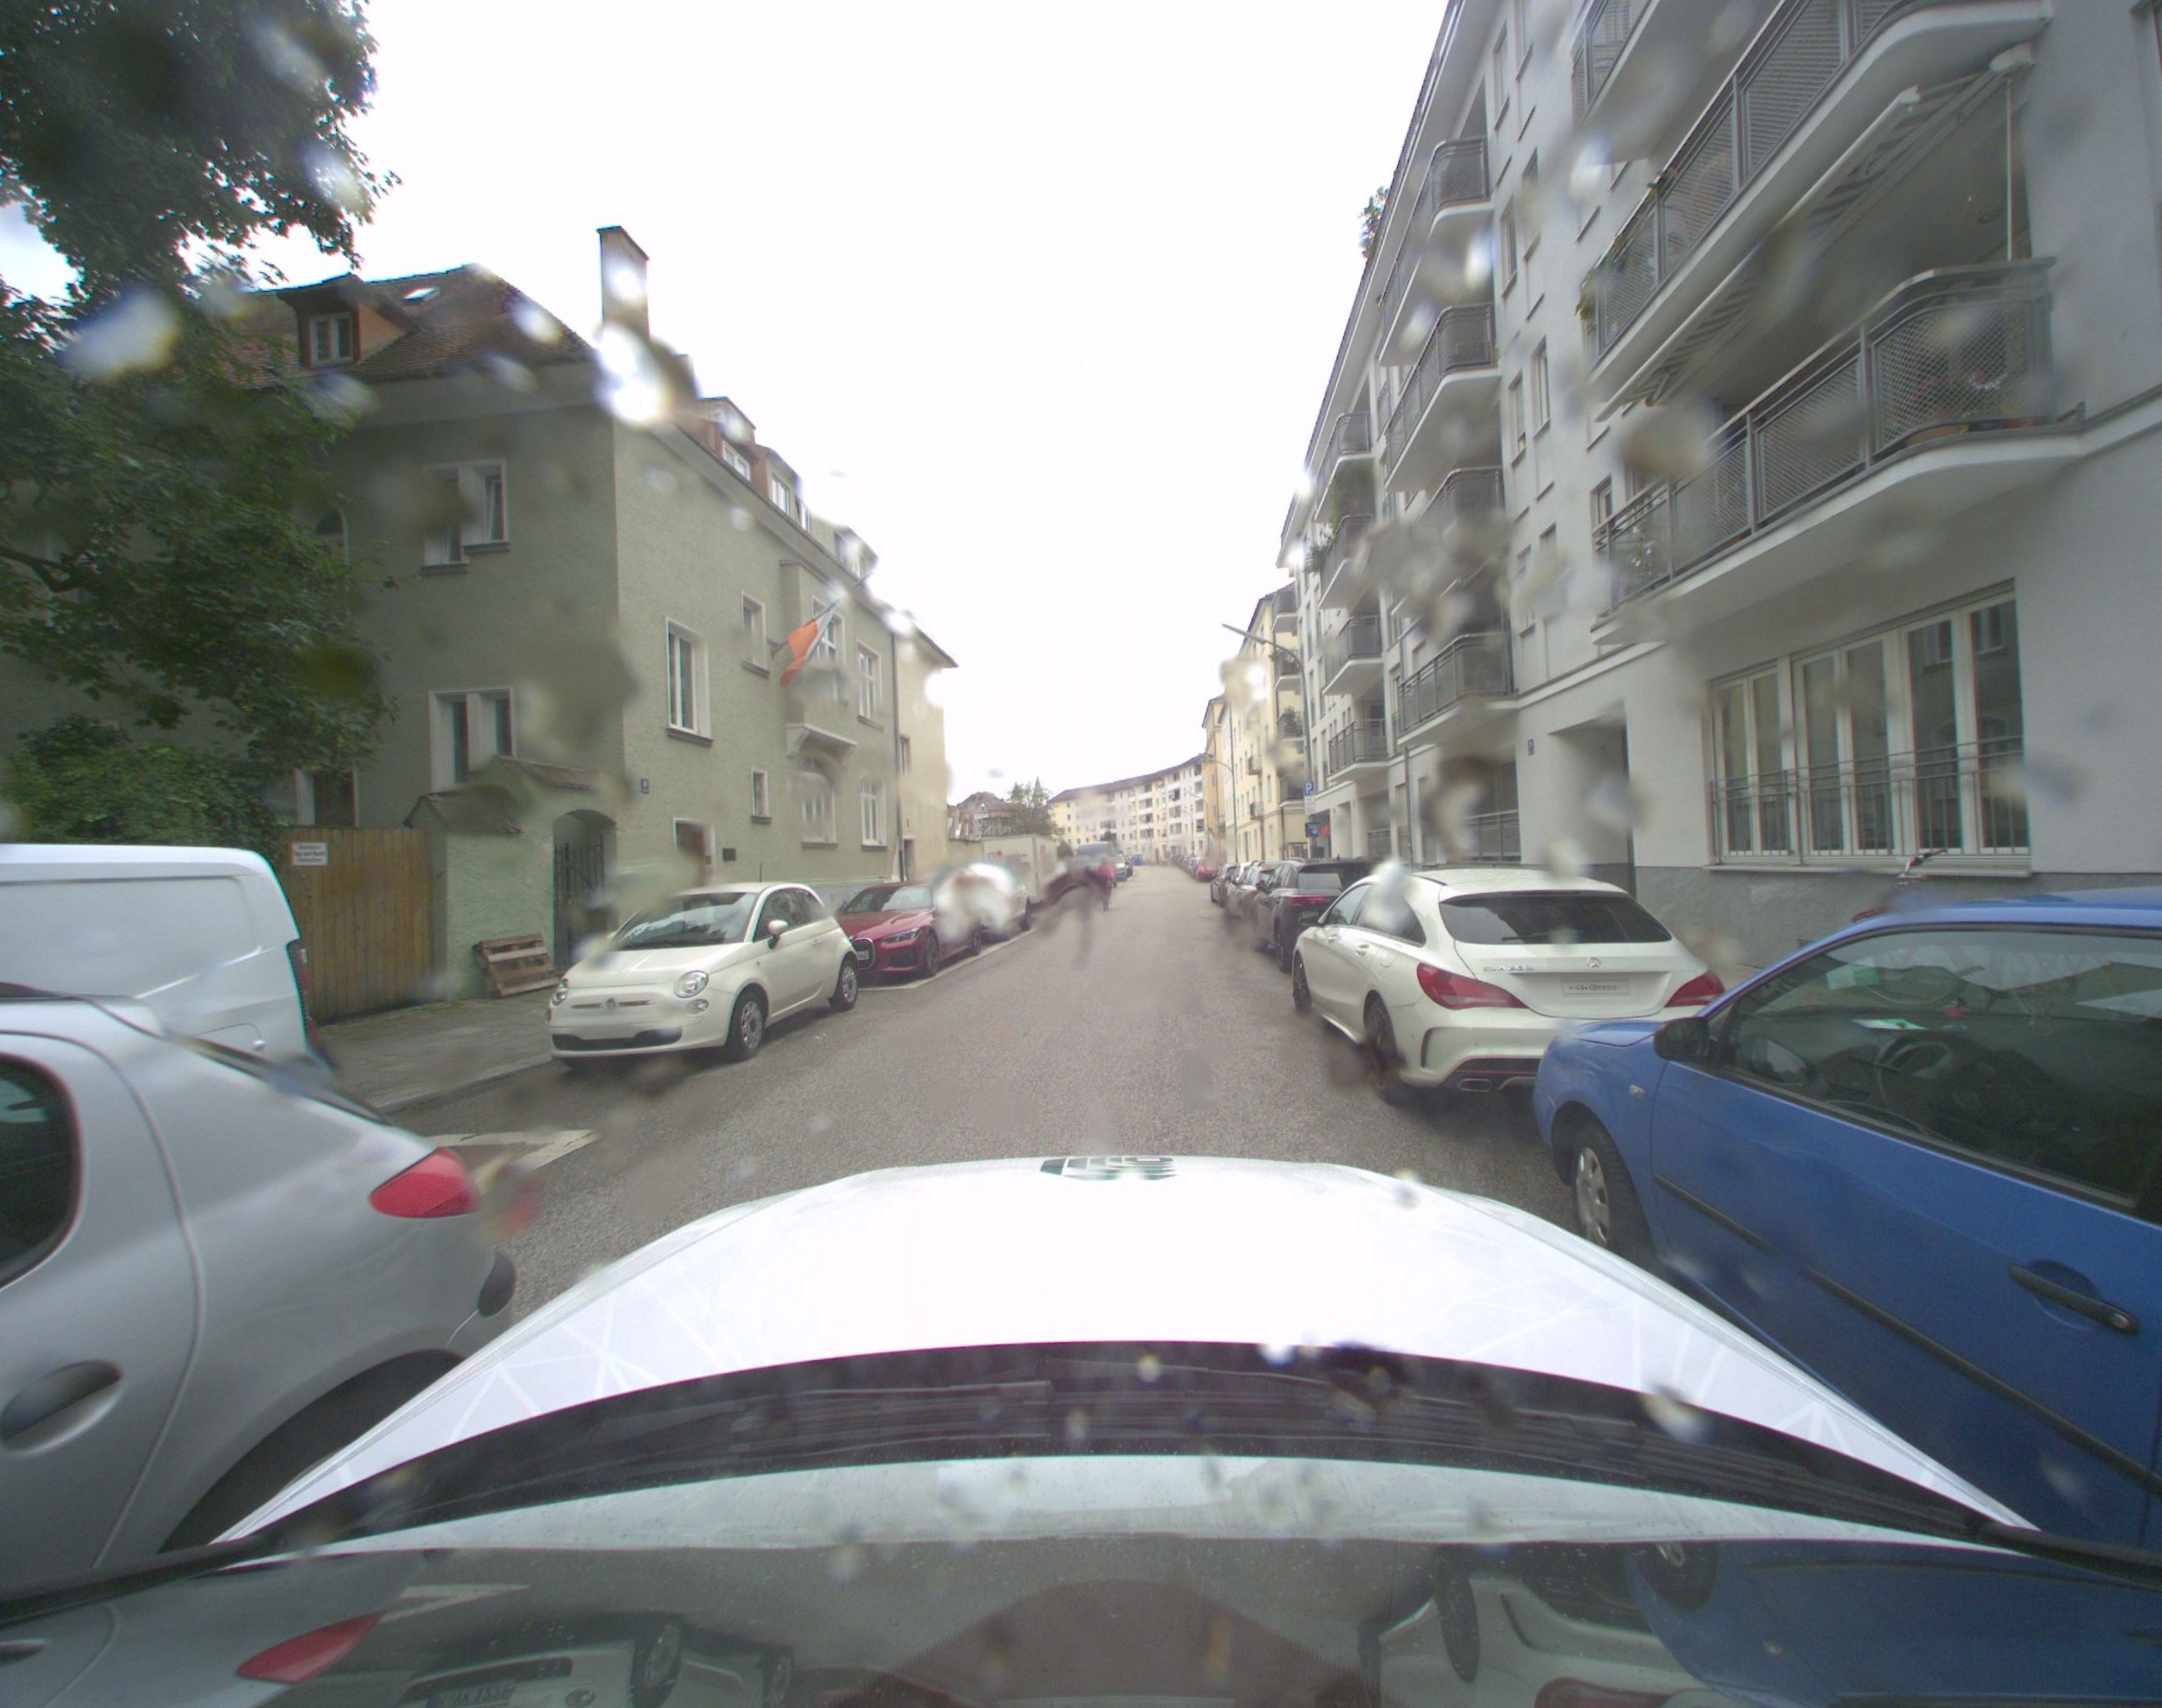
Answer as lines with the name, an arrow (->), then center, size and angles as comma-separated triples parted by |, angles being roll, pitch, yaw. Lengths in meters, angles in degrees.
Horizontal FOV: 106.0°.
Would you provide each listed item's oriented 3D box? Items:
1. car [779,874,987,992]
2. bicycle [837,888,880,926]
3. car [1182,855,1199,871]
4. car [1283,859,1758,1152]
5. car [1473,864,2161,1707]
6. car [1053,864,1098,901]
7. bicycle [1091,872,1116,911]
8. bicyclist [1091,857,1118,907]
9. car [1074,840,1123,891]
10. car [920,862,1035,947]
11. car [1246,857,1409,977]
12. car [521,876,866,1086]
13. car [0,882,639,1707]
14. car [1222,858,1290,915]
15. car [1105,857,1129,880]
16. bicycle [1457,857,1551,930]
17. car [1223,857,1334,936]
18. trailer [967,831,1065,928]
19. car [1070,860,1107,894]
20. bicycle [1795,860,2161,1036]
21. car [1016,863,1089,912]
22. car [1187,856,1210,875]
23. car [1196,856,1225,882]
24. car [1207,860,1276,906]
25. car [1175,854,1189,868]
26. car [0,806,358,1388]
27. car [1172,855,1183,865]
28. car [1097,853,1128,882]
car -> -2.911, 1.119, 13.065 | 1.852, 1.412, 4.339 | -4, -1, 5
bicycle -> -5.949, 1.395, 21.893 | 0.520, 0.906, 1.931 | 1, 0, 3
car -> 11.629, 0.948, 86.908 | 1.583, 1.582, 4.305 | -1, 0, 5
car -> 2.708, 0.765, 6.188 | 1.650, 1.440, 4.212 | 0, 0, 5
car -> 2.485, 0.733, 1.946 | 1.611, 1.412, 3.558 | 0, -1, 4
car -> -0.194, 1.220, 36.017 | 1.693, 1.446, 3.829 | -2, 0, 4
bicycle -> 0.747, 1.198, 26.386 | 0.501, 1.128, 1.777 | -4, -1, 9
bicyclist -> 0.774, 0.895, 26.478 | 0.690, 1.561, 0.969 | -4, -1, 9
car -> 1.089, 0.590, 46.343 | 2.076, 2.636, 5.388 | -2, 0, 8
car -> -2.225, 1.055, 18.591 | 1.679, 1.603, 3.927 | -4, -1, 5
car -> 3.562, 0.811, 12.449 | 1.596, 1.530, 3.989 | 0, 0, 5
car -> -3.431, 1.027, 7.921 | 1.466, 1.466, 3.318 | -4, -1, 5
car -> -2.218, 0.795, 0.476 | 1.572, 1.411, 3.619 | -3, -1, 7
car -> 5.008, 0.884, 23.608 | 1.512, 1.530, 3.532 | -1, 0, 5
car -> 2.990, 1.168, 66.703 | 1.693, 1.691, 4.033 | -4, 0, 5
bicycle -> 7.351, 0.654, 14.281 | 0.624, 1.160, 2.130 | -3, -1, 4
car -> 4.236, 0.840, 18.133 | 1.726, 1.530, 4.628 | 0, 0, 5
trailer -> -1.774, 0.670, 23.756 | 1.699, 2.461, 4.397 | -4, -1, 9
car -> 0.402, 1.155, 40.964 | 1.579, 1.538, 3.546 | -3, -2, 3
bicycle -> 6.183, 0.592, 5.783 | 0.674, 1.028, 1.837 | -2, -2, 5
car -> -0.940, 1.161, 29.842 | 1.756, 1.538, 4.552 | -4, -1, 9
car -> 9.705, 0.922, 67.500 | 1.591, 1.491, 3.803 | -2, 0, 4
car -> 8.164, 0.941, 51.676 | 1.587, 1.509, 3.807 | -3, 0, 6
car -> 5.406, 0.945, 27.833 | 1.755, 1.408, 4.082 | -2, -1, 4
car -> 12.027, 0.848, 96.959 | 1.467, 1.641, 4.006 | -1, 0, 5
car -> -4.320, 0.804, 1.648 | 1.682, 1.803, 4.151 | -4, -1, 5
car -> 12.849, 0.844, 108.634 | 1.266, 1.299, 2.801 | -2, 0, 5
car -> 2.290, 0.938, 58.935 | 1.874, 1.931, 4.607 | -4, 0, 5
